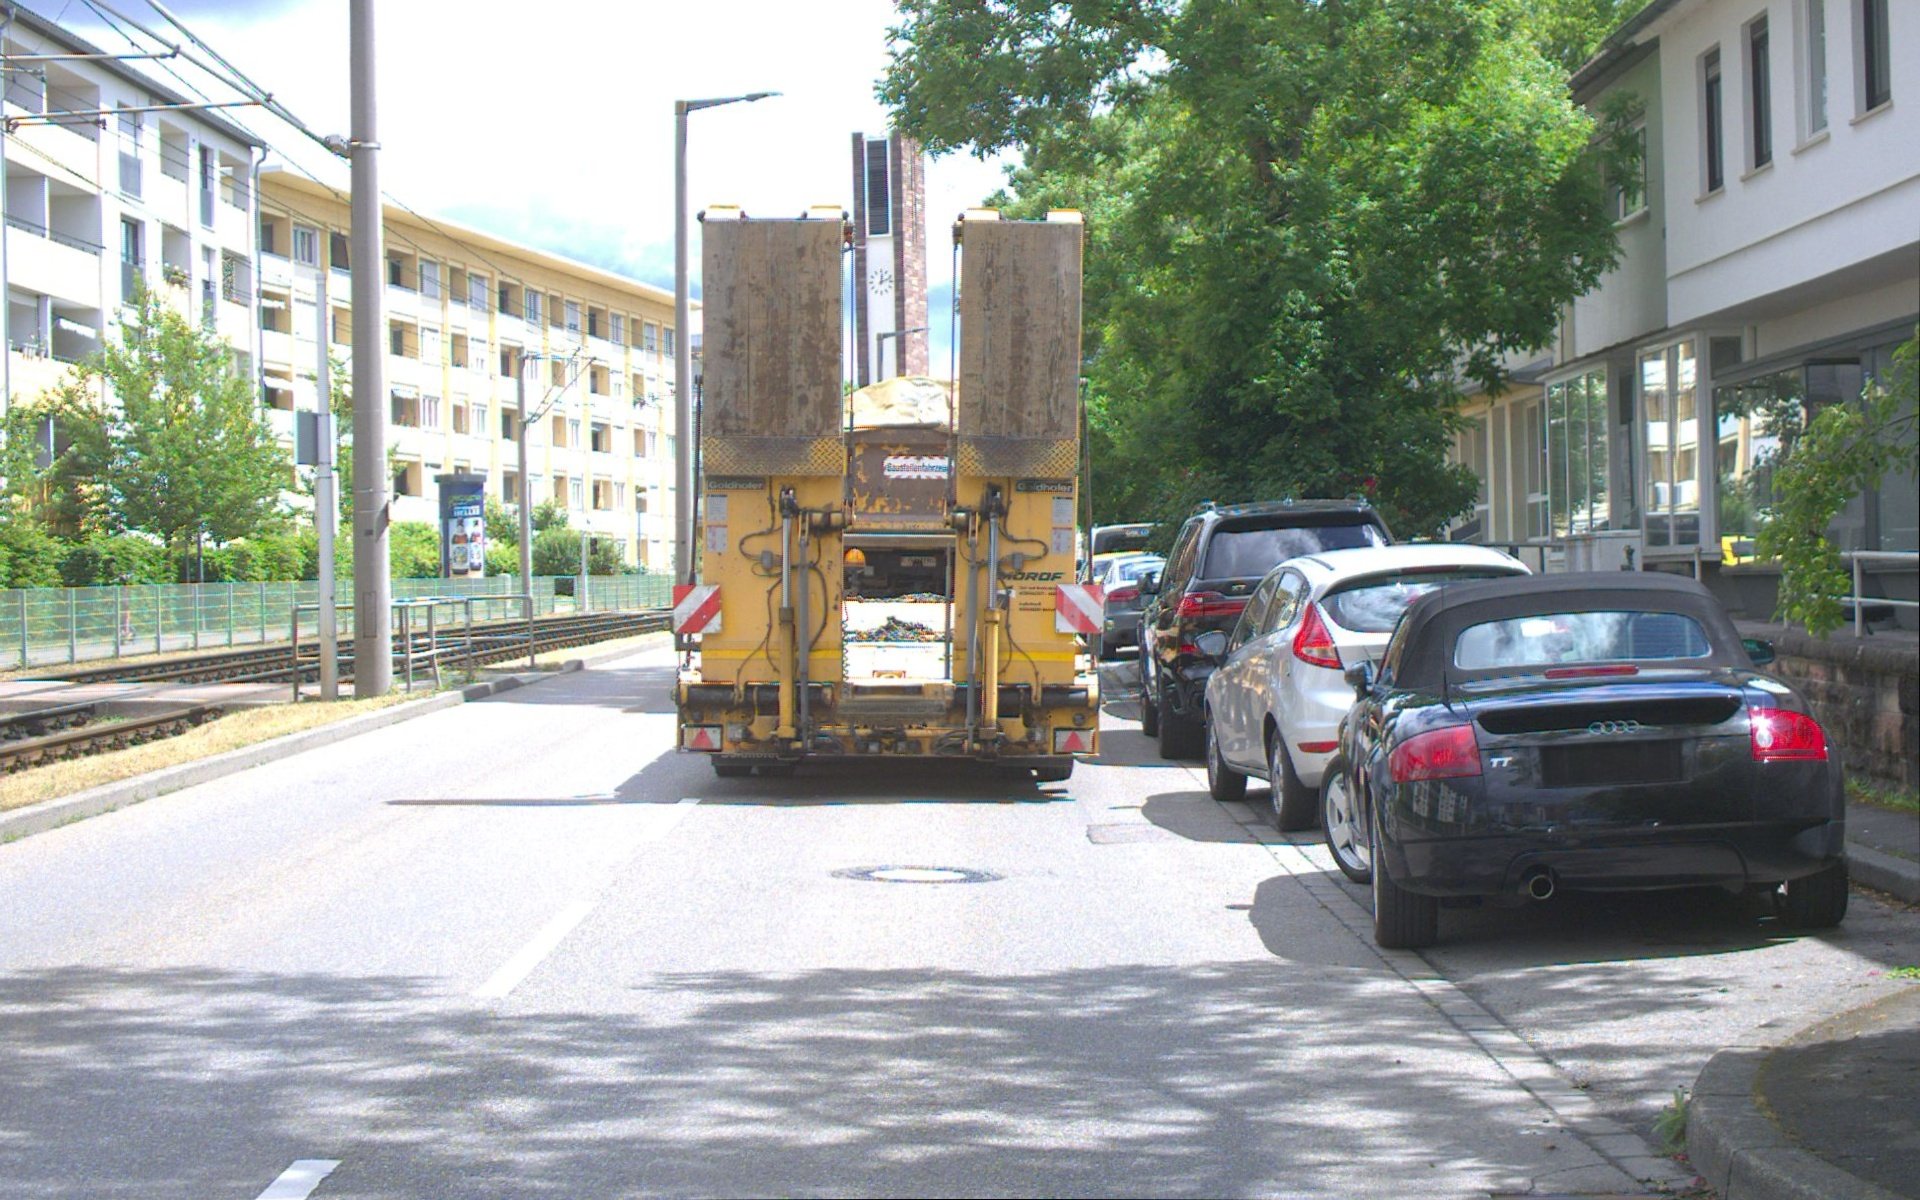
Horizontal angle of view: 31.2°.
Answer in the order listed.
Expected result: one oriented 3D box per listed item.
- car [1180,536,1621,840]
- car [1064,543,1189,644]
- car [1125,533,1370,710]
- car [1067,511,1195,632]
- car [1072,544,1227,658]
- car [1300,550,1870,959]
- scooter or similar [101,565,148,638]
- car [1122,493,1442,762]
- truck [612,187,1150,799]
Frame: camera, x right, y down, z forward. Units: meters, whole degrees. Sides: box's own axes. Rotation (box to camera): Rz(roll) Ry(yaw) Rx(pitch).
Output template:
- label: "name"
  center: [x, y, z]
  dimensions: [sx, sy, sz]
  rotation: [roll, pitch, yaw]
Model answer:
- label: "car"
  center: [2.353, 0.423, 19.324]
  dimensions: [1.771, 1.437, 3.900]
  rotation: [-3, 1, -2]
- label: "car"
  center: [2.557, -0.125, 53.551]
  dimensions: [1.755, 1.437, 4.341]
  rotation: [-2, 1, 1]
- label: "car"
  center: [2.609, 0.158, 32.134]
  dimensions: [1.834, 1.500, 4.243]
  rotation: [-2, 1, -1]
- label: "car"
  center: [2.942, -0.513, 60.087]
  dimensions: [1.914, 1.952, 5.745]
  rotation: [-2, 1, 0]
- label: "car"
  center: [2.531, -0.016, 46.797]
  dimensions: [1.755, 1.437, 4.494]
  rotation: [-2, 1, -1]
- label: "car"
  center: [2.393, 0.518, 14.099]
  dimensions: [1.771, 1.345, 4.000]
  rotation: [-3, 1, 4]
- label: "scooter or similar"
  center: [-14.994, 0.021, 61.726]
  dimensions: [0.490, 1.288, 1.302]
  rotation: [0, 1, 2]
- label: "car"
  center: [2.322, 0.153, 26.048]
  dimensions: [2.015, 1.782, 5.076]
  rotation: [-2, 1, 1]
- label: "truck"
  center: [-0.513, -0.724, 26.334]
  dimensions: [3.124, 3.552, 12.460]
  rotation: [0, 1, 0]
